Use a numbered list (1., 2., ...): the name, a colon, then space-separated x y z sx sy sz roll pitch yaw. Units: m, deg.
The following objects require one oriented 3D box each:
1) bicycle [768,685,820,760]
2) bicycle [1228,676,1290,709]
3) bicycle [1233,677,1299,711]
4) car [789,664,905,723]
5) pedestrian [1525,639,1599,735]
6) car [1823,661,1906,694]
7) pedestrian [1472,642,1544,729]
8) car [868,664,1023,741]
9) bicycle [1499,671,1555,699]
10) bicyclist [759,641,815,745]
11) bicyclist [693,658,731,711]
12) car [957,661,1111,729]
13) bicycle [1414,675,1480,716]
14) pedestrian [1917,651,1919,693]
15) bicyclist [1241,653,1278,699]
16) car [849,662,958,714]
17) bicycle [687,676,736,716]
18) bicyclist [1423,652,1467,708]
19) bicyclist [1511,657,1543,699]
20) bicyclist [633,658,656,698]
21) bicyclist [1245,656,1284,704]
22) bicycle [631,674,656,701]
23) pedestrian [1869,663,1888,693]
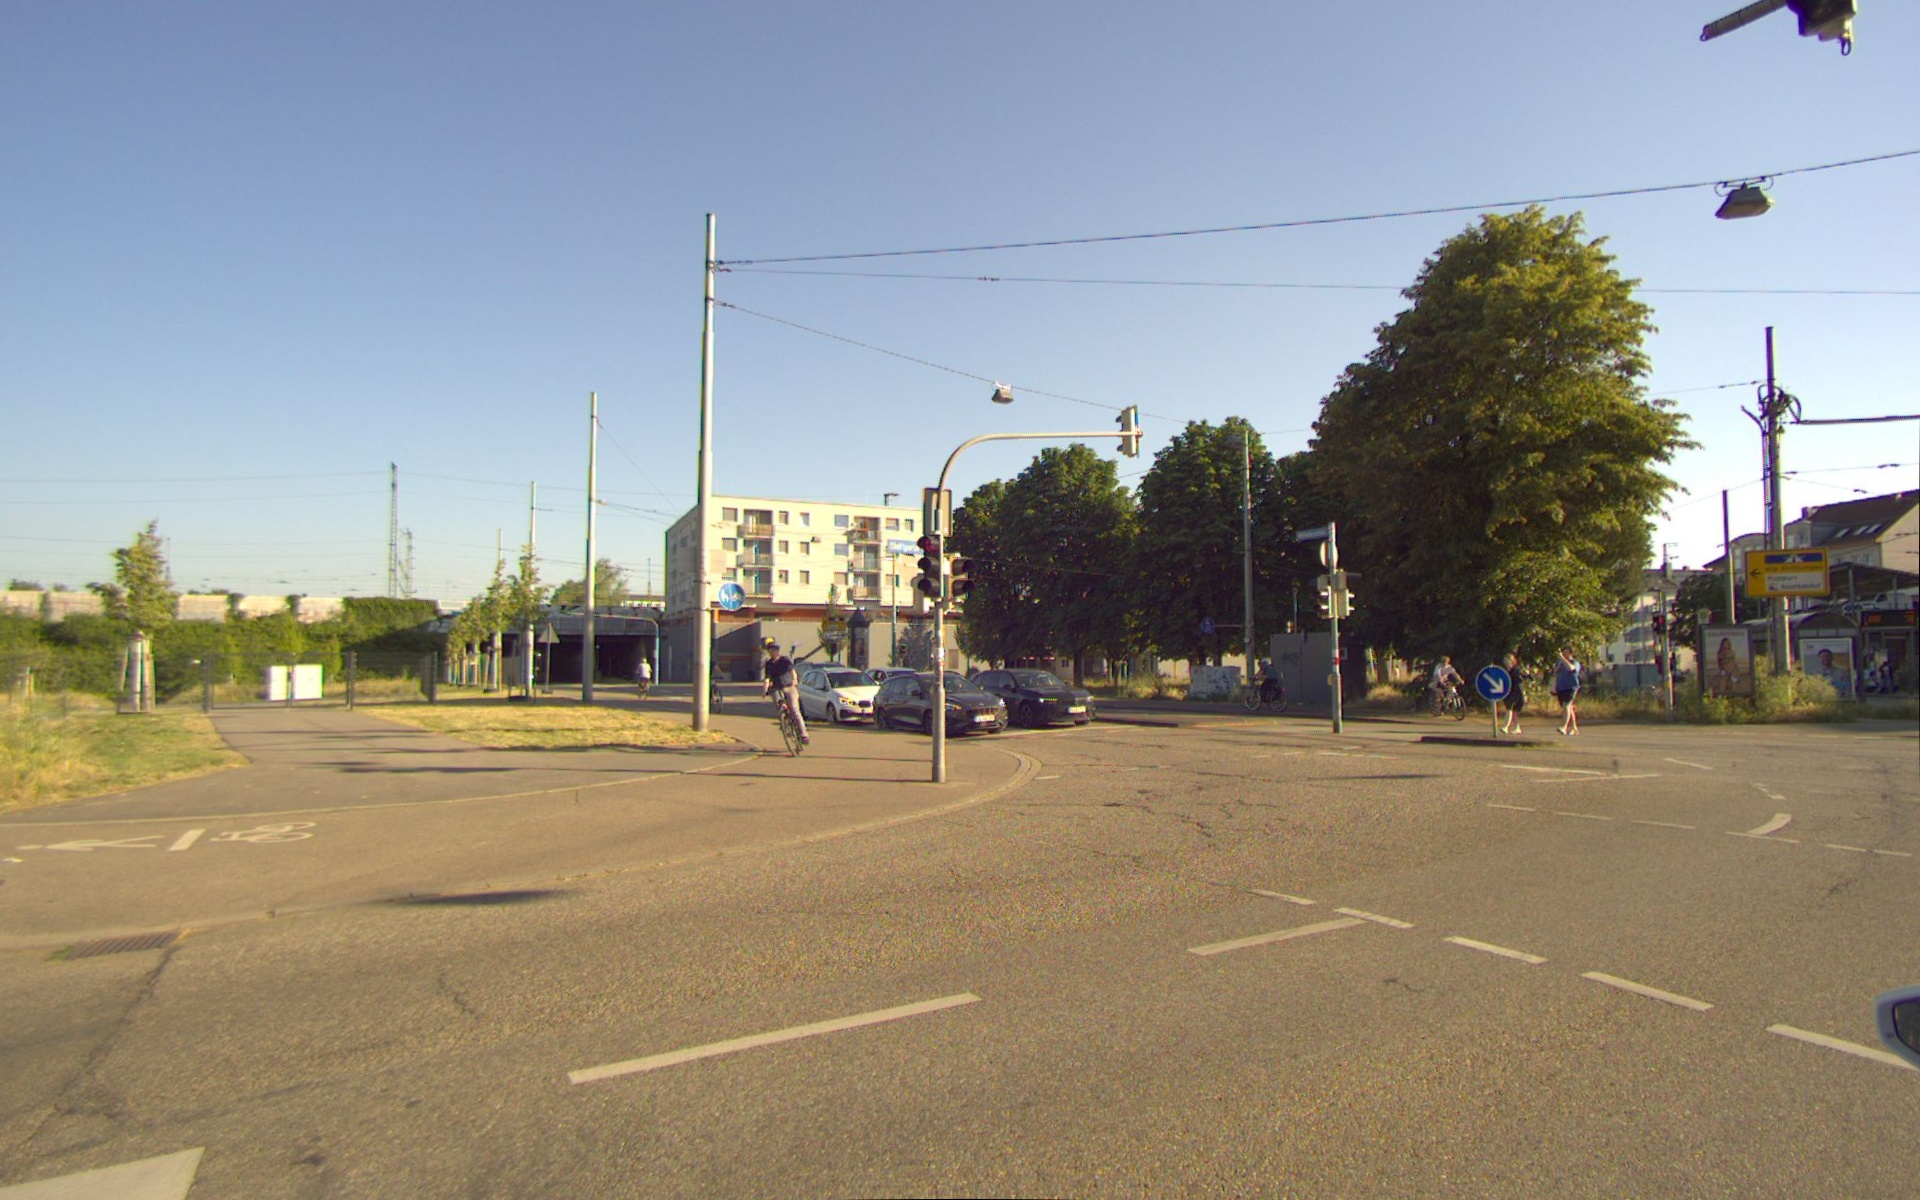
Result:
1. bicycle: -2.760 1.987 16.580 0.741 1.107 1.945 0 -4 -12
2. bicycle: 10.328 3.192 34.738 0.659 1.083 1.995 3 -5 -42
3. bicycle: 10.092 3.081 33.163 0.659 1.083 1.993 3 -5 -43
4. car: -3.385 2.682 29.411 1.975 1.587 4.246 2 -4 -28
5. pedestrian: 12.648 1.820 21.114 1.056 1.950 0.907 2 -4 -33
6. car: 58.296 4.975 64.856 2.016 1.986 5.153 -4 -5 19
7. pedestrian: 11.568 1.793 21.225 1.056 1.769 0.907 2 -4 -33
8. car: -0.451 2.339 23.690 1.975 1.587 4.246 1 -4 -28
9. bicycle: 23.050 3.456 40.834 1.982 1.083 0.663 0 -3 -10
10. bicyclist: -2.857 1.506 16.524 0.863 1.646 0.970 1 -3 -13
11. bicyclist: -7.510 2.541 30.423 0.843 1.567 1.013 2 -4 -32
12. car: 1.783 2.374 25.838 2.027 1.587 4.423 2 -4 -26
13. bicycle: 14.546 2.841 30.066 0.687 1.157 2.200 0 -4 -6
14. pedestrian: 47.245 3.507 48.706 0.906 2.039 0.768 -2 -4 25
15. bicyclist: 10.353 2.612 34.719 0.656 1.551 1.025 3 -5 -42
16. car: -1.940 2.837 33.076 1.975 1.587 4.426 2 -4 -27
17. bicycle: -7.507 2.873 30.312 0.784 1.164 2.273 2 -4 -31
18. bicyclist: 14.539 2.392 30.135 0.700 1.650 1.041 0 -3 -6
19. bicyclist: 23.049 3.162 40.848 0.870 1.673 0.670 0 -3 -8
20. bicyclist: -13.208 3.259 42.028 0.767 1.626 0.852 2 -4 -27
21. bicyclist: 10.069 2.643 33.232 0.693 1.551 1.024 3 -5 -43
22. bicycle: -13.265 3.666 42.067 0.655 1.083 2.006 1 -4 -27
23. pedestrian: 46.938 3.973 51.330 0.558 1.520 0.677 -2 -4 32
